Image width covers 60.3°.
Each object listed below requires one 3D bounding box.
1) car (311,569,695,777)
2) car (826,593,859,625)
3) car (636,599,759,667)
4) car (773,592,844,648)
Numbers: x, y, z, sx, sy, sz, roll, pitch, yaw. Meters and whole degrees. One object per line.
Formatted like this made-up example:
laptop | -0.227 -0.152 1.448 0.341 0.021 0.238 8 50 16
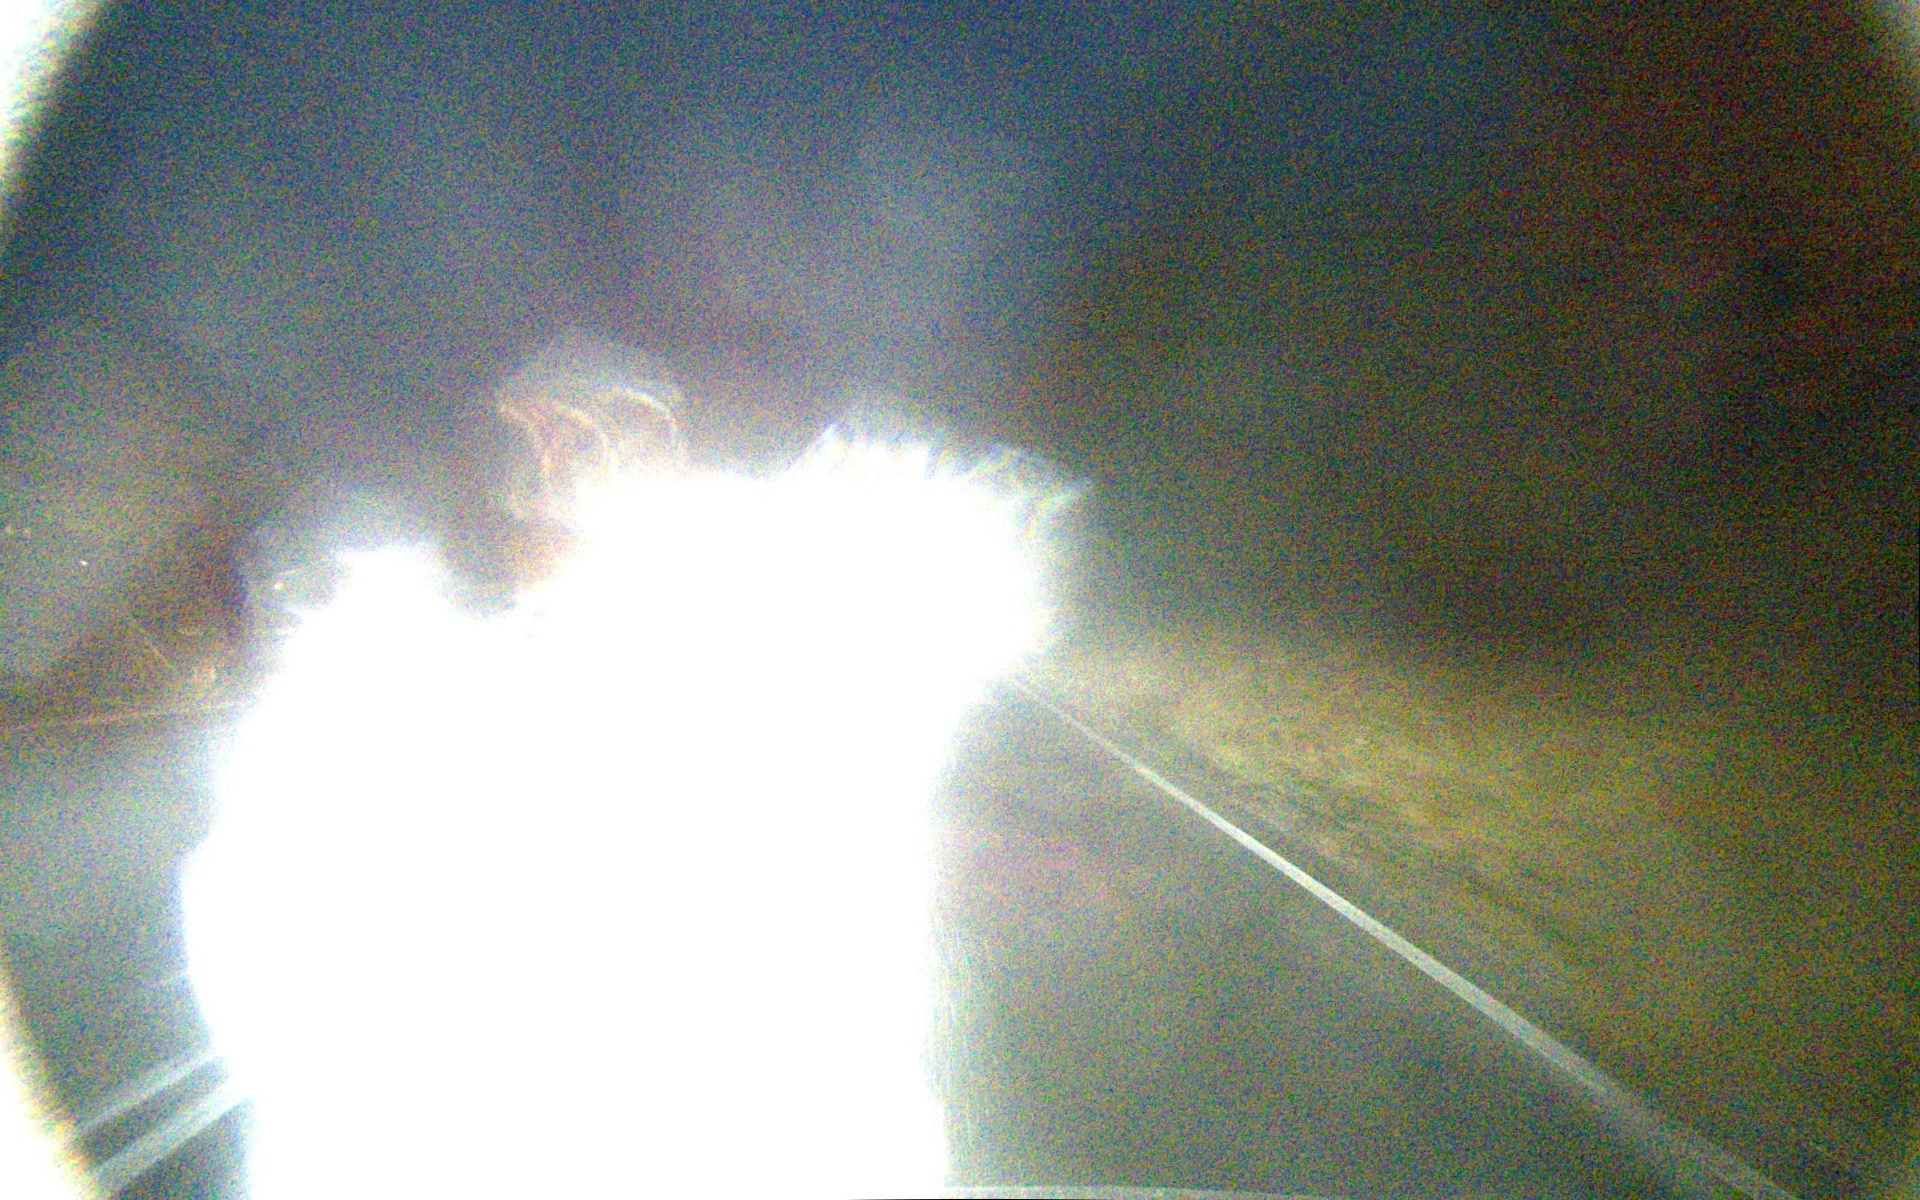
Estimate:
car | -3.995 0.573 15.412 2.066 1.603 4.681 1 0 3
car | -6.573 0.472 92.697 1.620 1.712 4.519 1 0 -2
car | -5.862 0.698 37.447 1.766 1.407 4.773 1 0 3
car | -4.661 0.588 51.338 1.884 1.643 4.084 1 0 -1
